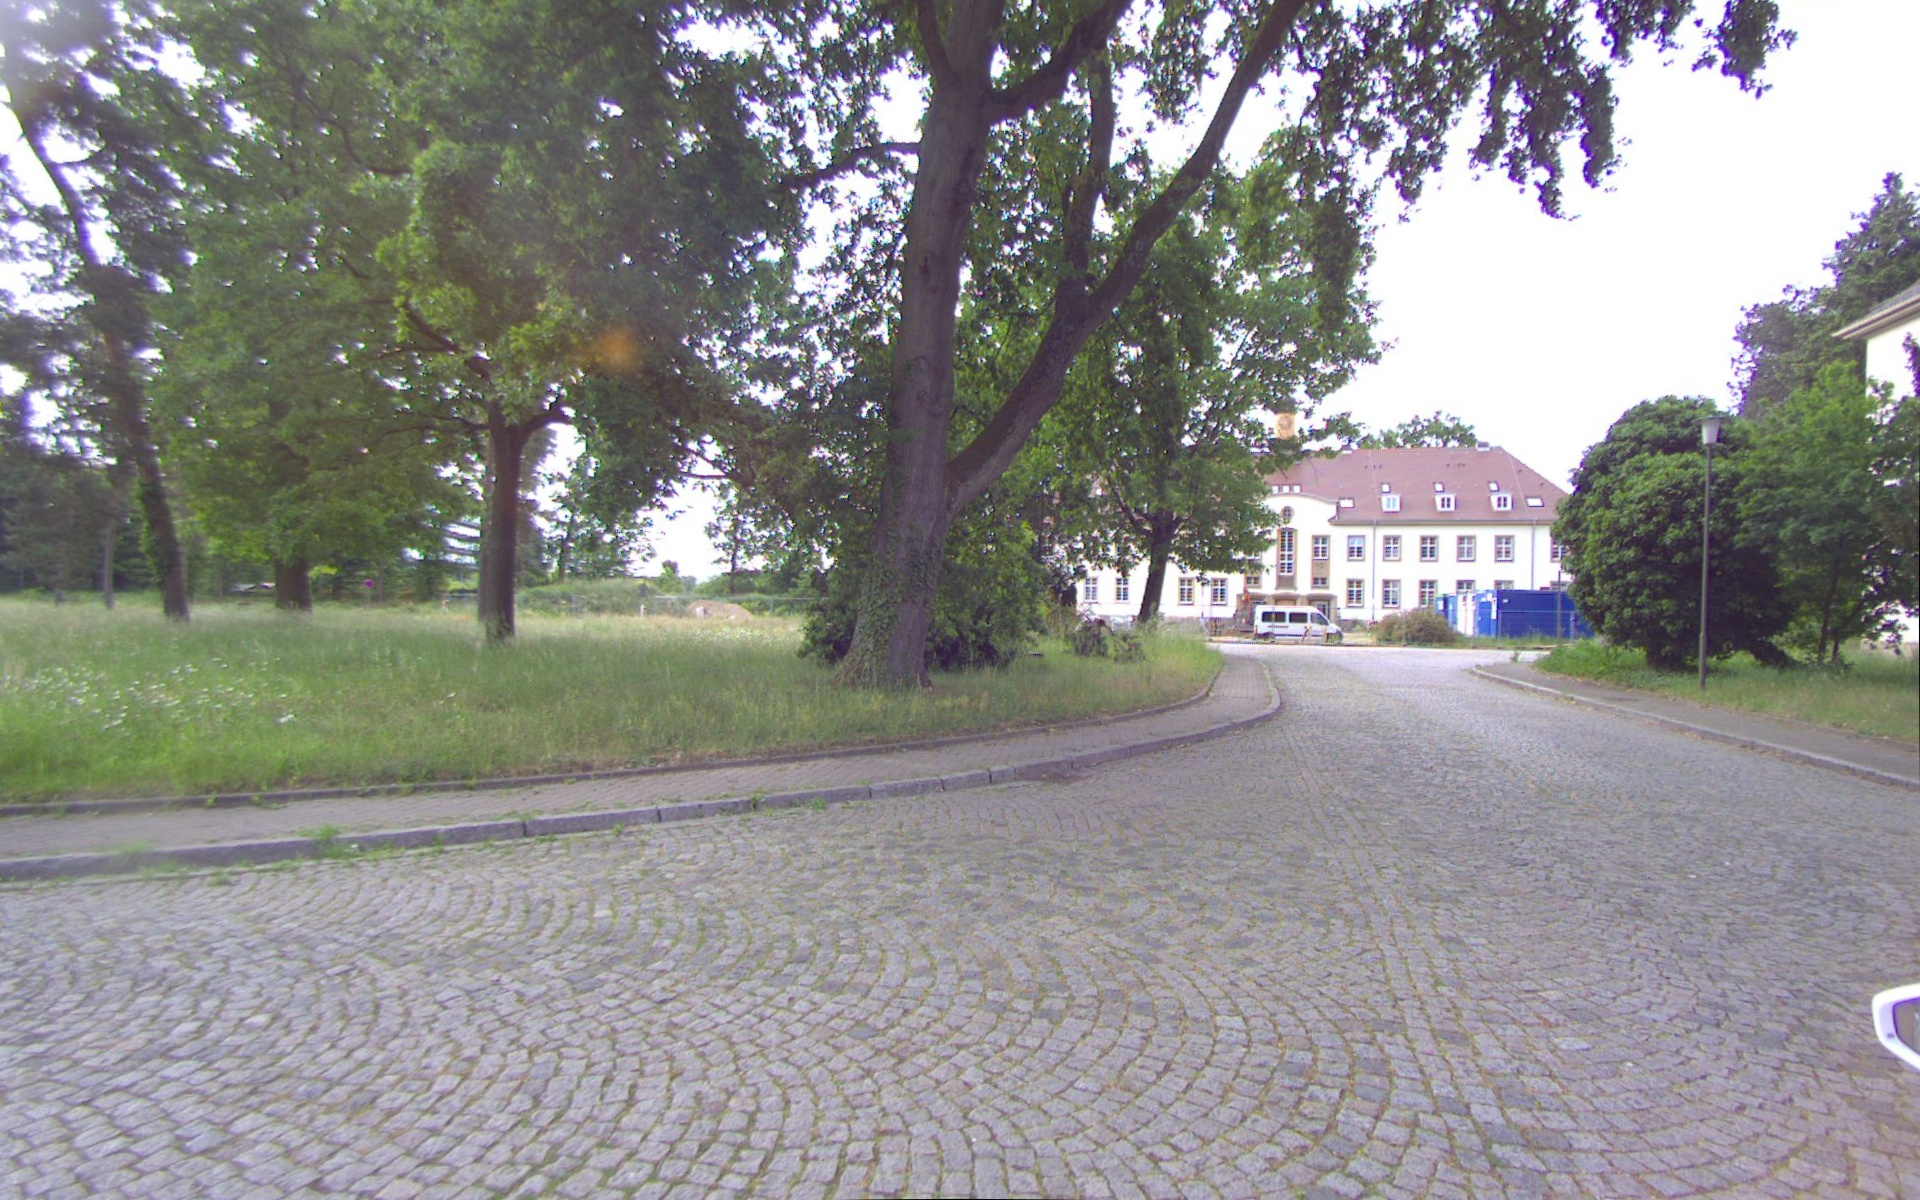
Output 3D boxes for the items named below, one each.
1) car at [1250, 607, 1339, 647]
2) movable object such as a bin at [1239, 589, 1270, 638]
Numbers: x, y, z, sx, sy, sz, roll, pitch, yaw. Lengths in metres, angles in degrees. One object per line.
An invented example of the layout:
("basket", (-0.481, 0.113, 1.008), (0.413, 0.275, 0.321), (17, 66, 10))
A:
("car", (20.770, 1.645, 62.552), (5.174, 2.375, 1.910), (1, -1, 17))
("movable object such as a bin", (23.804, 1.130, 81.437), (1.959, 3.821, 5.321), (1, -1, 12))
